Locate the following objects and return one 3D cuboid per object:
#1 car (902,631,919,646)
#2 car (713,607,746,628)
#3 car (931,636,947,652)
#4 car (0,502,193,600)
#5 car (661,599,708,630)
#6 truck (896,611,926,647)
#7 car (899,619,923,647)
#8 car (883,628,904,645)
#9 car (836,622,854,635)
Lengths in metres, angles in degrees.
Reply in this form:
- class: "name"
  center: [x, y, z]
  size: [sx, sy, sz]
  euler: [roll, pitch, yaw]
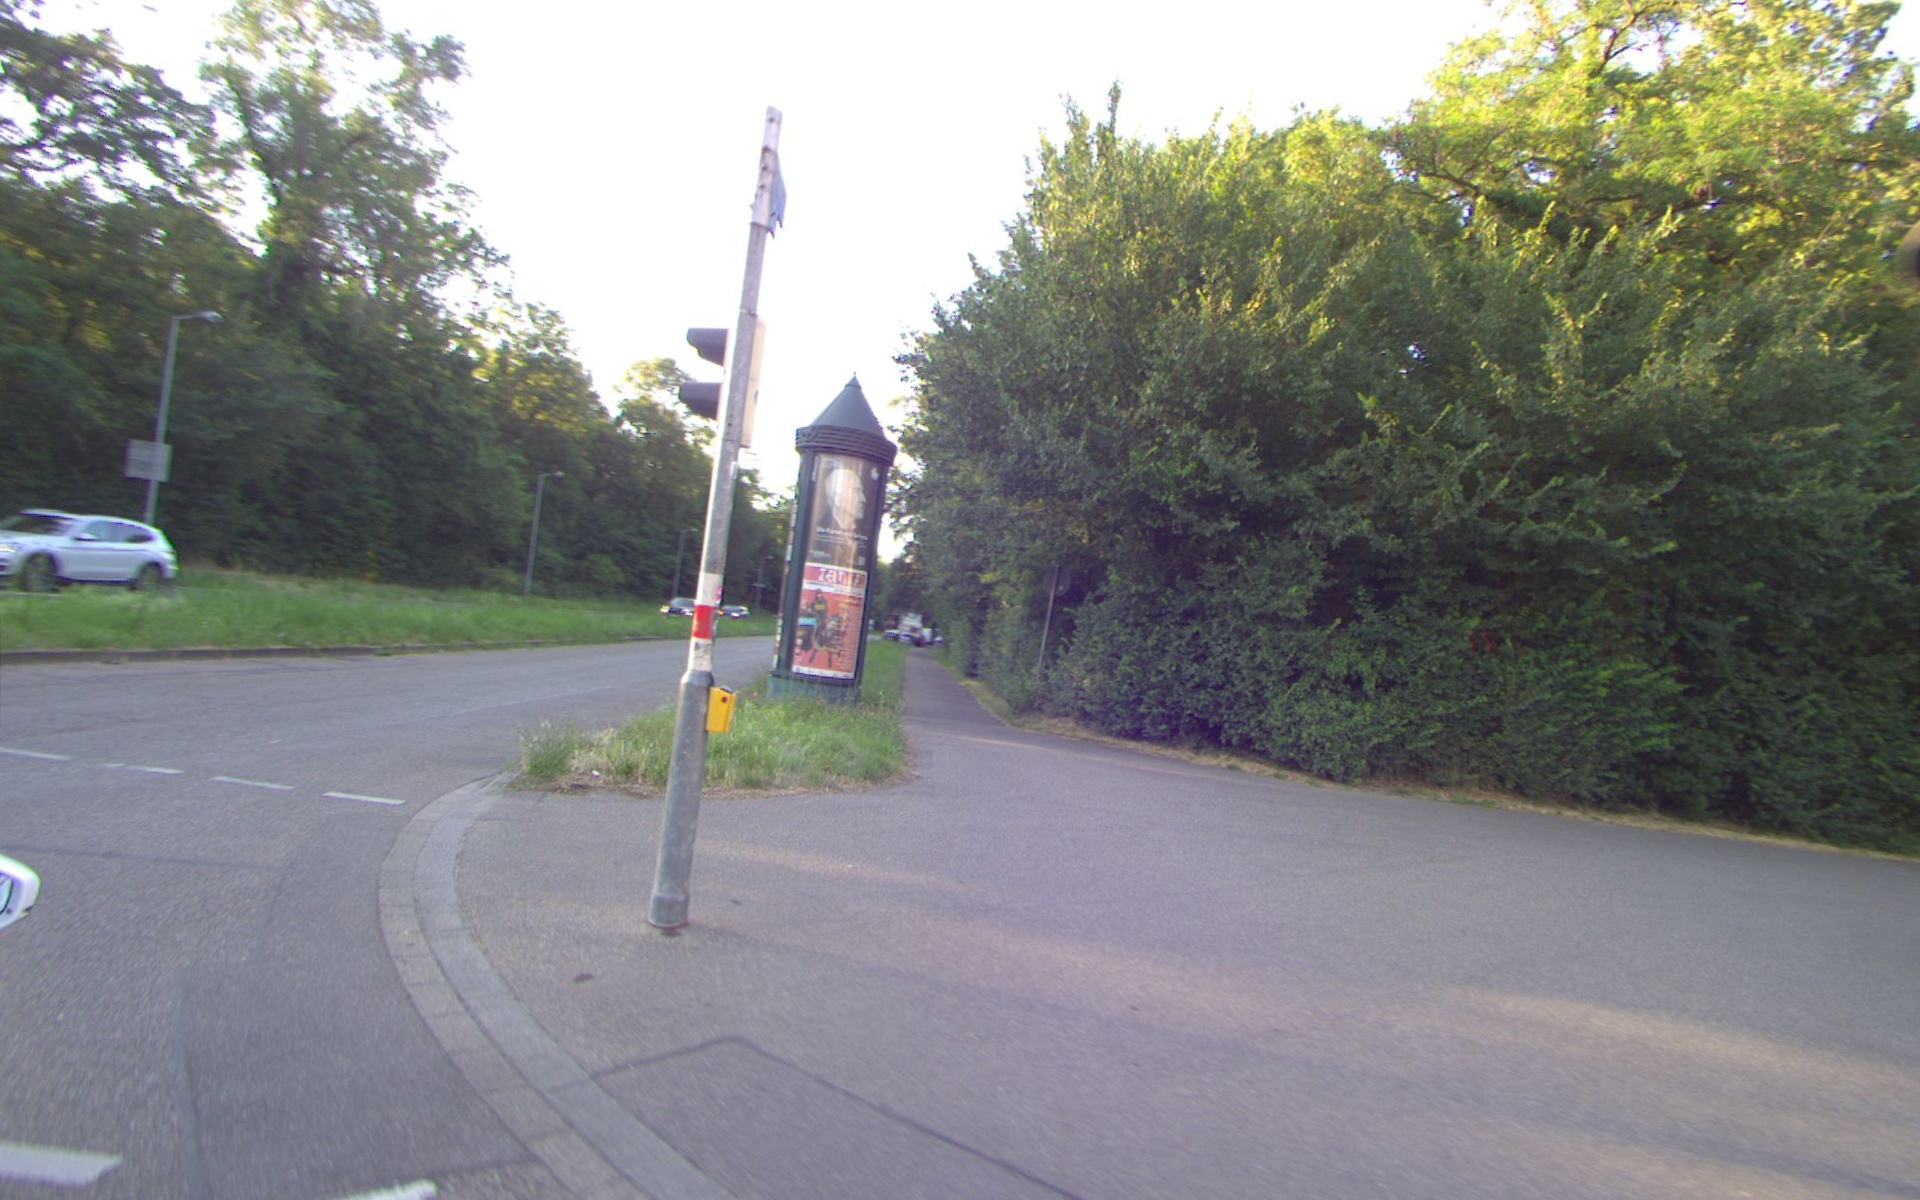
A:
- class: "car"
  center: [-5.490, 4.313, 112.482]
  size: [1.673, 1.422, 4.077]
  euler: [8, -2, -2]
- class: "car"
  center: [-20.795, 1.597, 90.796]
  size: [1.963, 1.646, 4.652]
  euler: [6, -2, -3]
- class: "car"
  center: [-3.695, 7.800, 176.901]
  size: [1.962, 2.435, 5.835]
  euler: [7, -4, 4]
- class: "car"
  center: [-18.725, -0.983, 20.964]
  size: [1.793, 1.632, 4.644]
  euler: [5, -2, 0]
- class: "car"
  center: [-16.964, 0.901, 62.120]
  size: [1.786, 1.646, 4.452]
  euler: [6, -2, -3]
- class: "truck"
  center: [-6.132, 3.741, 127.261]
  size: [2.617, 4.073, 9.730]
  euler: [8, -2, 2]
- class: "car"
  center: [-5.804, 3.962, 119.118]
  size: [2.373, 2.890, 5.935]
  euler: [8, -2, -2]
- class: "car"
  center: [-6.115, 3.354, 92.353]
  size: [1.578, 1.347, 2.993]
  euler: [8, -2, -6]
- class: "car"
  center: [-16.523, 4.118, 144.827]
  size: [1.963, 1.473, 3.815]
  euler: [7, -4, -1]
